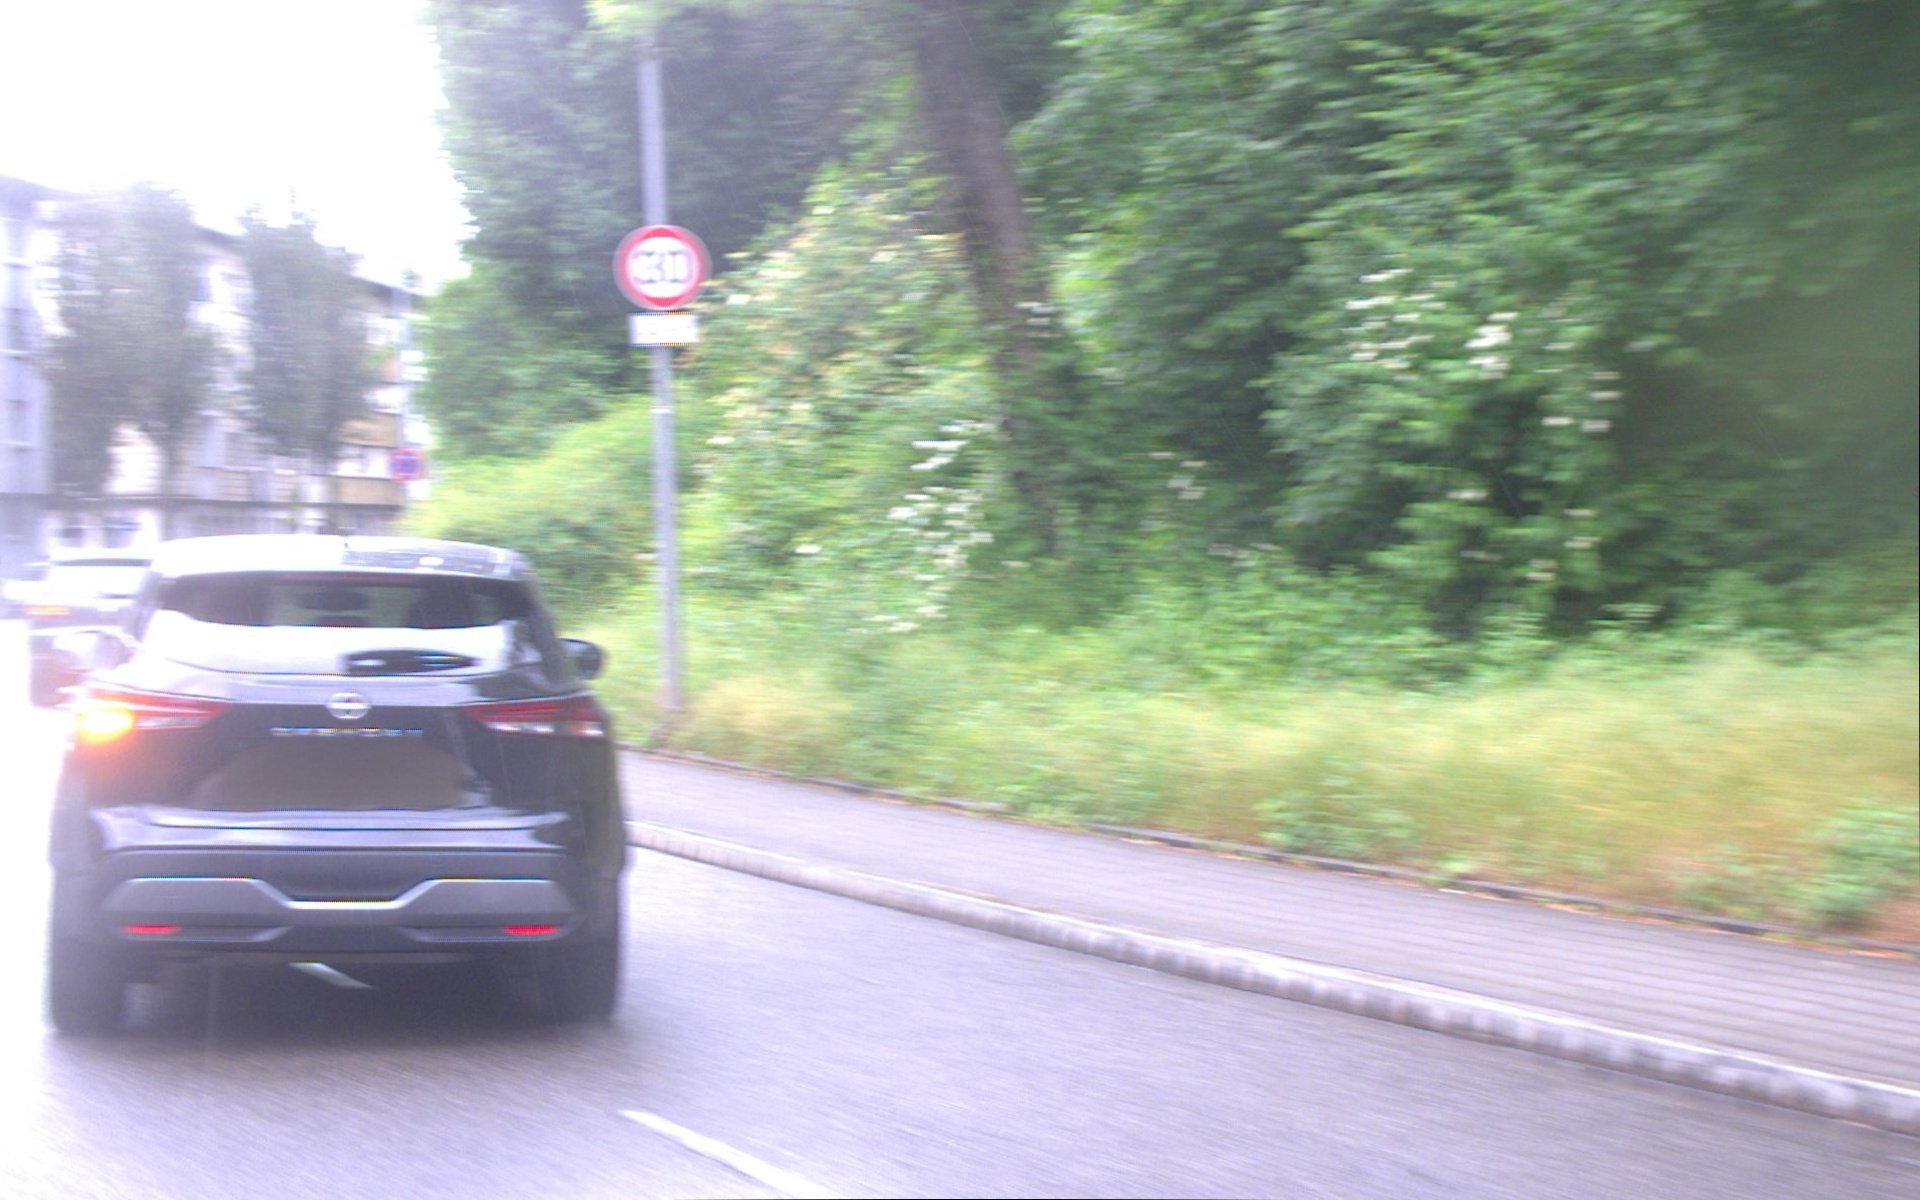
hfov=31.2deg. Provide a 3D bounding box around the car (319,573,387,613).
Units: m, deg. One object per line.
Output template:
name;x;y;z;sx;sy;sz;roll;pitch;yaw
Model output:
car;-23.097;-0.287;130.836;1.626;1.382;3.988;-2;1;3

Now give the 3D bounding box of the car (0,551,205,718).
car;-9.320;0.326;37.573;1.886;1.705;4.001;-1;1;-10

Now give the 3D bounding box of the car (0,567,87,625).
car;-24.573;-0.118;91.283;1.724;1.448;4.206;-2;1;-1

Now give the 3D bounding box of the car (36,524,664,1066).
car;-2.300;0.525;12.188;1.844;1.577;4.001;0;1;-15
